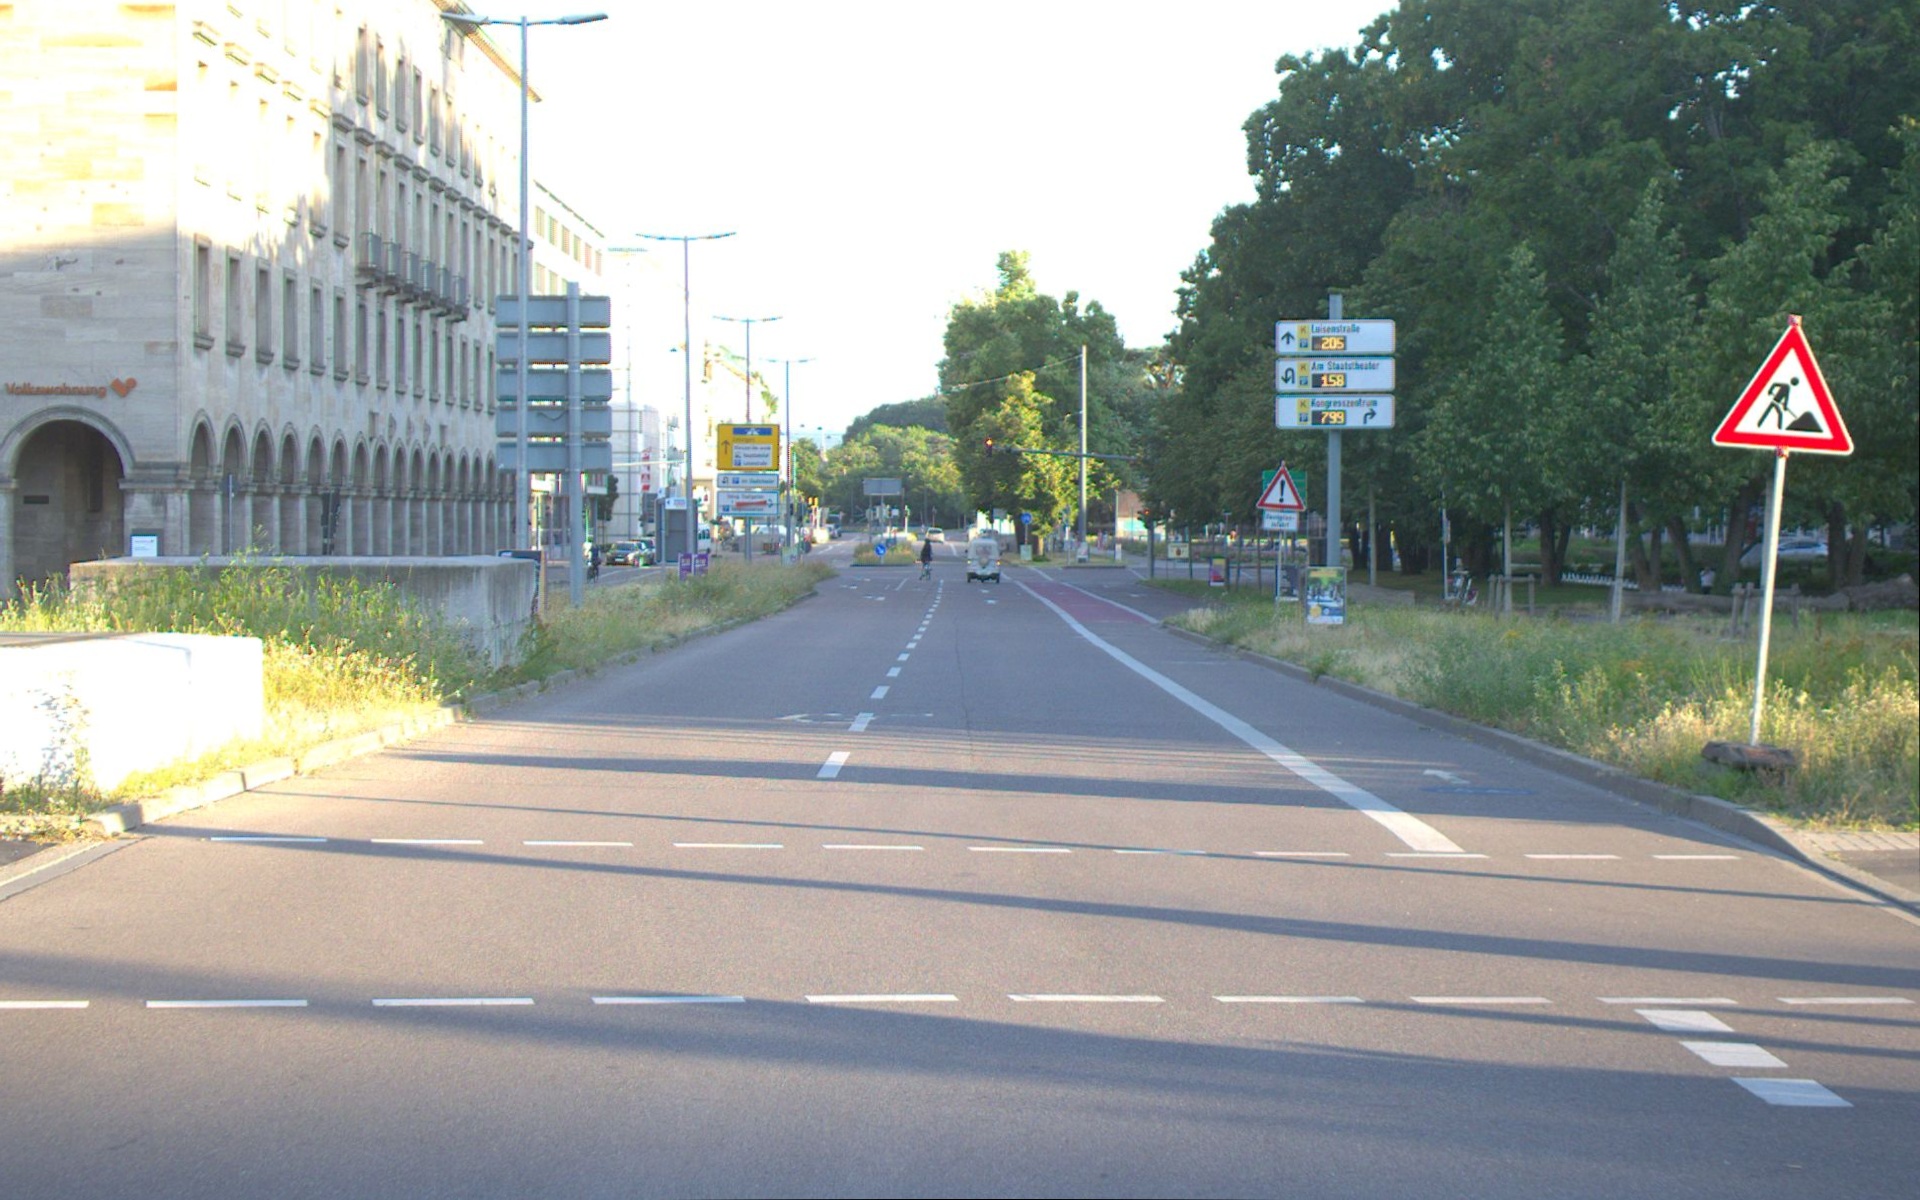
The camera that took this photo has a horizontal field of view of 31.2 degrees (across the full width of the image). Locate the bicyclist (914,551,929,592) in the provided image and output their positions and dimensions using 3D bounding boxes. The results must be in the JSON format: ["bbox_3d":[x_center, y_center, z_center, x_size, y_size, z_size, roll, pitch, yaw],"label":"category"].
[{"bbox_3d":[-1.587,-1.170,142.247,0.628,1.687,0.748,0,0,-1],"label":"bicyclist"}]

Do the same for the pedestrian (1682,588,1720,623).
[{"bbox_3d":[18.534,0.136,86.017,0.679,0.881,0.624,0,1,-22],"label":"pedestrian"}]

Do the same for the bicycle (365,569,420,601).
[{"bbox_3d":[-18.277,-0.495,110.741,0.478,1.002,2.001,1,1,36],"label":"bicycle"}]

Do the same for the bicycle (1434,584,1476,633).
[{"bbox_3d":[10.671,0.176,74.051,0.495,1.002,1.896,-2,1,19],"label":"bicycle"}]

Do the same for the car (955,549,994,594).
[{"bbox_3d":[0.591,-1.158,137.680,1.459,1.774,2.564,0,1,2],"label":"car"}]

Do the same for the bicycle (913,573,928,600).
[{"bbox_3d":[-1.635,-0.558,142.469,0.637,1.065,2.069,0,1,0],"label":"bicycle"}]
